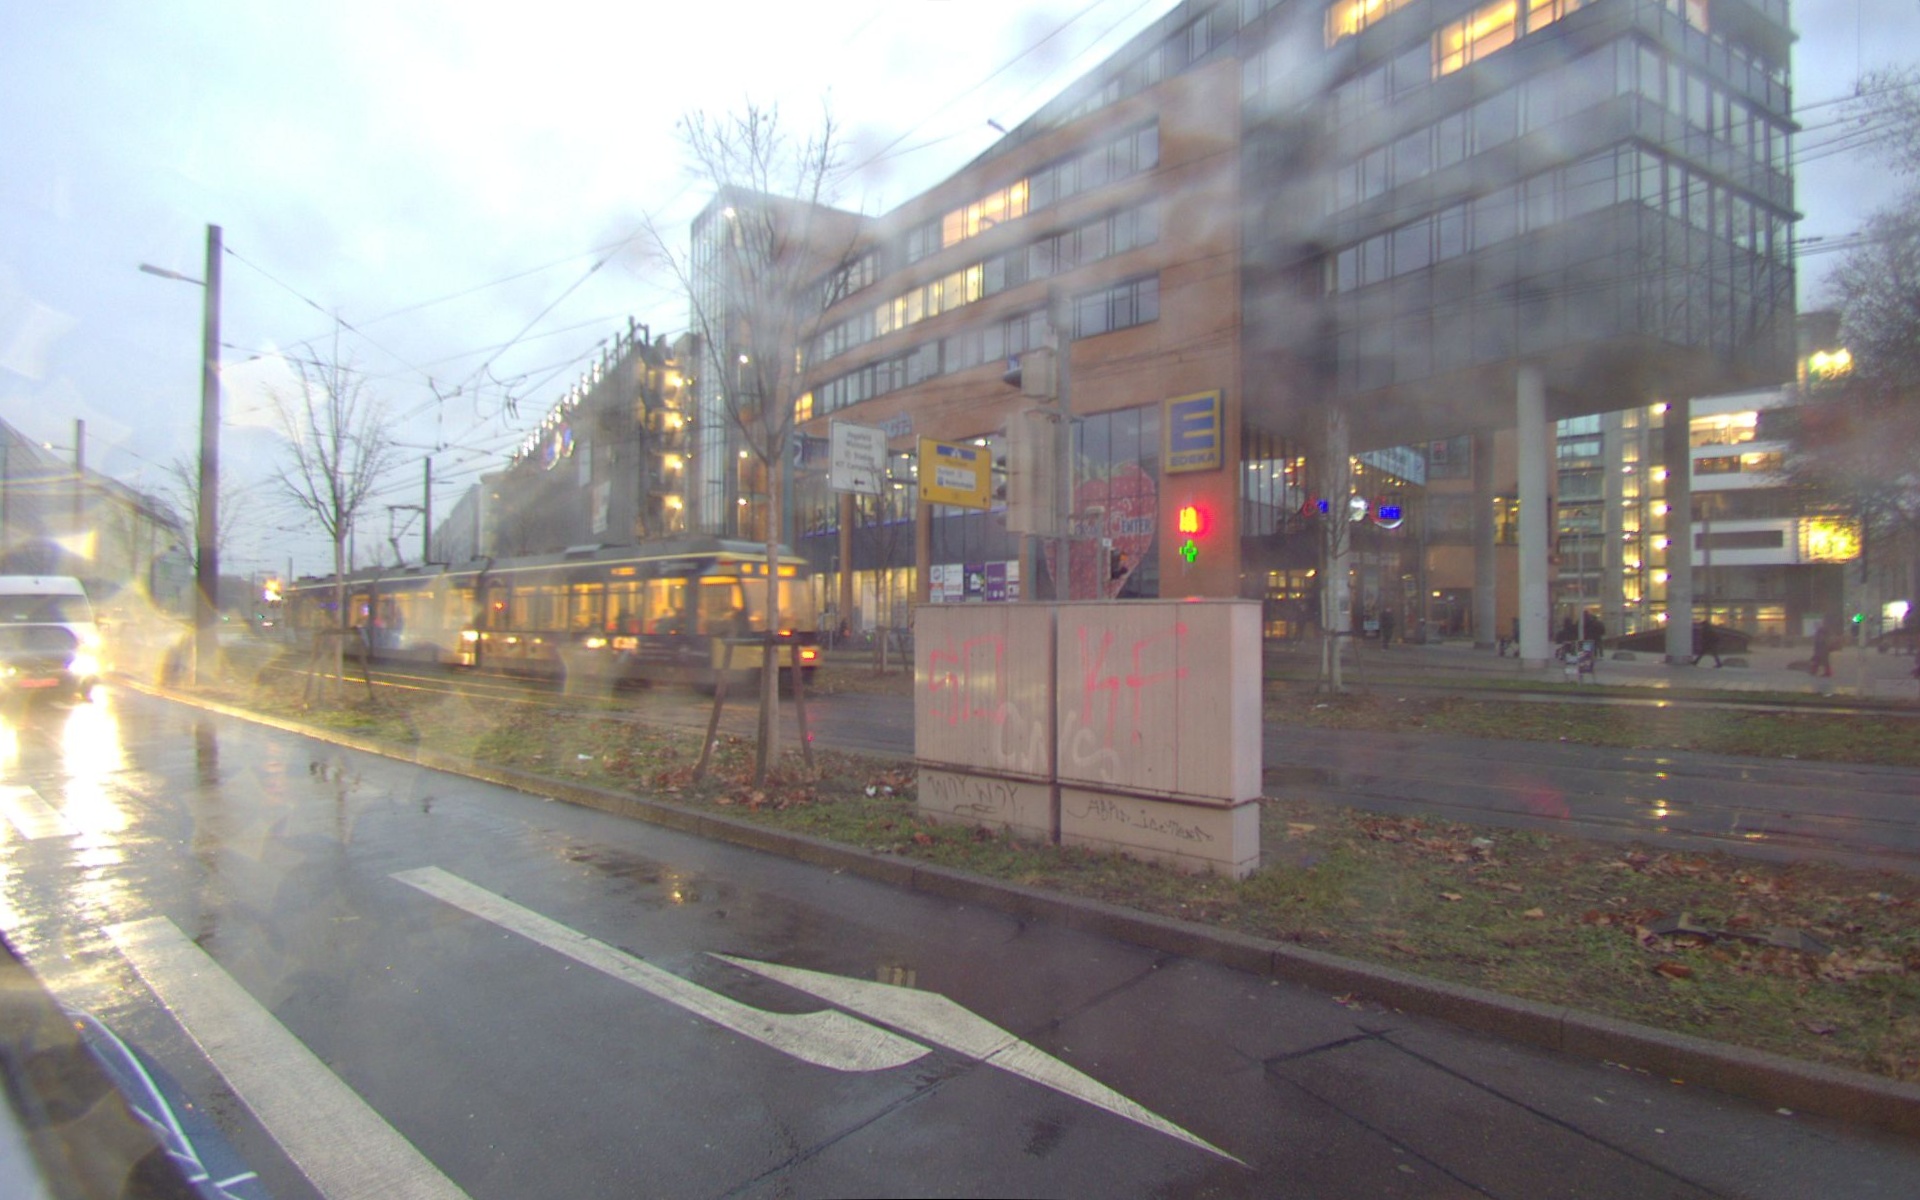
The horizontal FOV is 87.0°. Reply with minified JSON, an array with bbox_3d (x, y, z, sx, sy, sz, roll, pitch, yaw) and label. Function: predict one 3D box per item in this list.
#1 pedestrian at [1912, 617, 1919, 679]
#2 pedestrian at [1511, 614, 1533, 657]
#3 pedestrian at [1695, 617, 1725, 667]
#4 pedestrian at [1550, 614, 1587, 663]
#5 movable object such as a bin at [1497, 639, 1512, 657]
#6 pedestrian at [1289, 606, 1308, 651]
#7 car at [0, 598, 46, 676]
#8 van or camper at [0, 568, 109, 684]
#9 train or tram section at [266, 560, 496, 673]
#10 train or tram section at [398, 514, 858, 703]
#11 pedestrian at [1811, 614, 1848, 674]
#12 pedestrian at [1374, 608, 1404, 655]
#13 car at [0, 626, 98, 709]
[{"bbox_3d":[28.841,1.422,29.992,0.859,1.818,0.790,1,-2,-42],"label":"pedestrian"},{"bbox_3d":[21.243,1.327,38.254,0.674,1.620,0.449,-1,-2,33],"label":"pedestrian"},{"bbox_3d":[26.105,1.447,35.225,0.784,1.725,0.647,-1,-2,39],"label":"pedestrian"},{"bbox_3d":[21.971,1.378,36.544,0.994,1.725,0.787,1,-2,-34],"label":"pedestrian"},{"bbox_3d":[20.758,1.818,38.564,0.484,0.694,0.353,-1,-2,33],"label":"movable object such as a bin"},{"bbox_3d":[13.486,1.127,40.312,0.658,1.766,0.534,0,-2,12],"label":"pedestrian"},{"bbox_3d":[-37.668,1.417,39.567,5.809,2.885,2.102,-1,-2,41],"label":"car"},{"bbox_3d":[-22.894,0.605,24.799,5.894,2.551,2.126,-1,-1,40],"label":"van or camper"},{"bbox_3d":[-23.961,0.719,40.678,2.831,3.642,20.081,2,-2,-45],"label":"train or tram section"},{"bbox_3d":[-10.126,0.347,27.071,19.214,3.642,2.833,-1,-2,43],"label":"train or tram section"},{"bbox_3d":[26.608,1.337,30.968,0.821,1.787,0.564,-1,-2,42],"label":"pedestrian"},{"bbox_3d":[16.342,1.183,38.554,0.782,1.766,0.704,0,-2,-1],"label":"pedestrian"},{"bbox_3d":[-17.767,1.209,19.182,4.057,1.355,1.735,0,-1,44],"label":"car"}]
